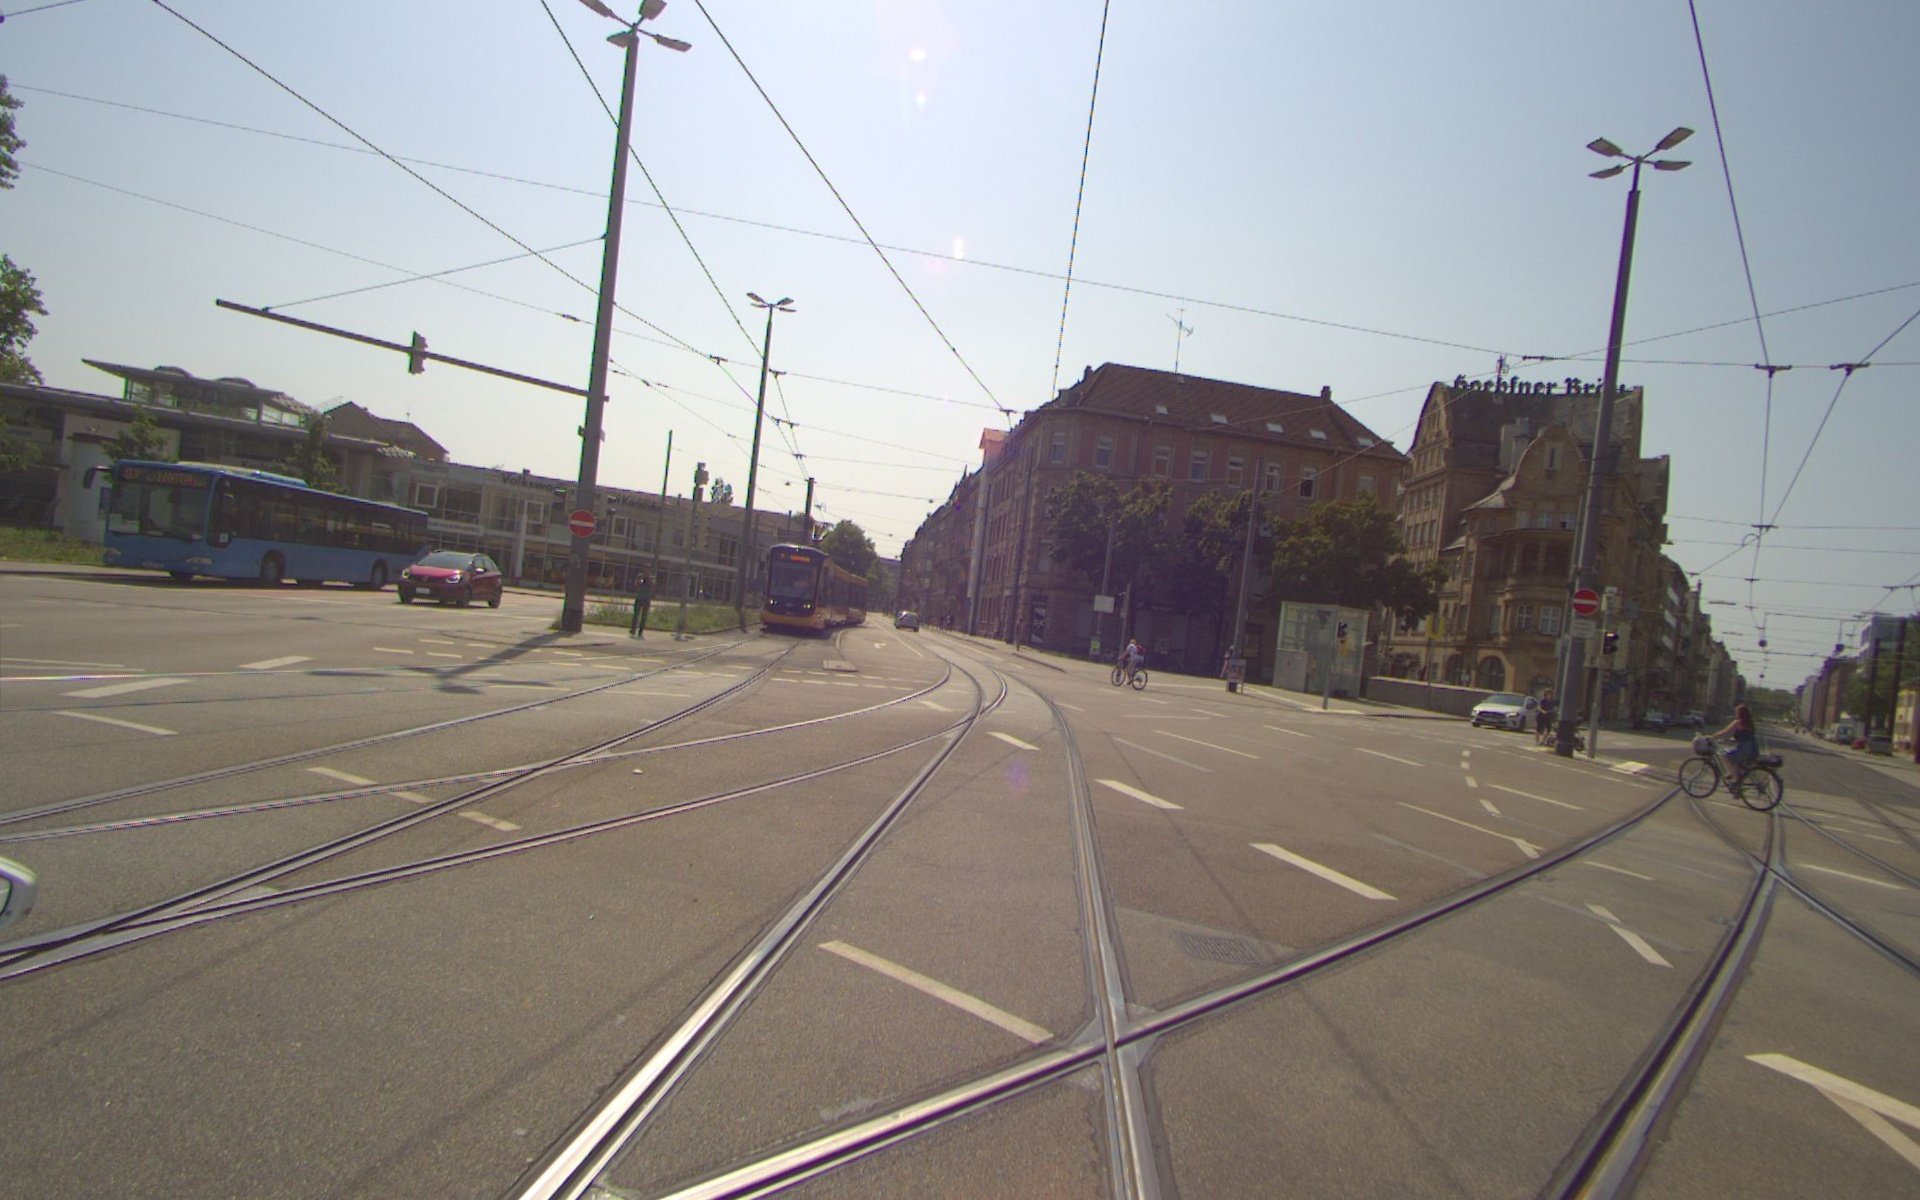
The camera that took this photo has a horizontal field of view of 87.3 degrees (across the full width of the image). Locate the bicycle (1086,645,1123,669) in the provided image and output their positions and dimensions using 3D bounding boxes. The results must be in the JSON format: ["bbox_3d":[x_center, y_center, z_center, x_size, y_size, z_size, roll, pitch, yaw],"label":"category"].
[{"bbox_3d":[7.328,2.885,51.015,1.759,0.969,0.461,7,0,-12],"label":"bicycle"}]

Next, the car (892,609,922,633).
[{"bbox_3d":[-4.277,1.672,80.718,1.710,1.591,3.607,9,-2,-10],"label":"car"}]

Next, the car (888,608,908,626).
[{"bbox_3d":[-6.025,1.619,97.670,1.489,1.529,3.618,7,-1,-9],"label":"car"}]

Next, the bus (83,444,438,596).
[{"bbox_3d":[-19.869,-1.945,30.133,2.685,3.101,12.077,7,-1,-4],"label":"bus"}]

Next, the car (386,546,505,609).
[{"bbox_3d":[-14.507,-0.583,28.585,1.601,1.489,3.768,7,-1,-6],"label":"car"}]

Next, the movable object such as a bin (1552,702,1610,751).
[{"bbox_3d":[16.573,3.366,26.864,0.805,1.097,1.039,8,-2,3],"label":"movable object such as a bin"}]

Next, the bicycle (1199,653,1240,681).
[{"bbox_3d":[11.925,3.077,46.267,0.636,1.010,2.368,7,-1,-16],"label":"bicycle"}]

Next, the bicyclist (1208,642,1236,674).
[{"bbox_3d":[12.017,2.669,46.078,0.738,1.336,0.918,7,0,-16],"label":"bicyclist"}]

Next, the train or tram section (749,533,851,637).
[{"bbox_3d":[-6.682,-0.482,44.004,2.548,3.603,12.215,7,-1,-2],"label":"train or tram section"}]

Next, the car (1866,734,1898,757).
[{"bbox_3d":[85.656,13.553,93.464,1.973,1.703,3.984,7,-3,42],"label":"car"}]

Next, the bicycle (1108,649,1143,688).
[{"bbox_3d":[5.470,2.240,33.311,0.434,1.125,1.639,7,0,-13],"label":"bicycle"}]

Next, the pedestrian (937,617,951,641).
[{"bbox_3d":[-1.469,2.643,91.271,0.781,2.037,0.808,8,-1,-14],"label":"pedestrian"}]

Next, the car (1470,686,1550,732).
[{"bbox_3d":[21.578,4.304,39.434,3.707,1.302,1.569,12,-5,-42],"label":"car"}]

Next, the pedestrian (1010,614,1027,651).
[{"bbox_3d":[3.421,1.905,59.029,0.640,2.038,0.702,7,0,-10],"label":"pedestrian"}]

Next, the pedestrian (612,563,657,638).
[{"bbox_3d":[-7.909,0.000,24.453,0.794,1.708,0.715,7,0,-24],"label":"pedestrian"}]

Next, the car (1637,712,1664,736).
[{"bbox_3d":[50.626,9.095,73.742,1.354,1.413,3.248,7,-2,37],"label":"car"}]

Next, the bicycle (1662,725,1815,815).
[{"bbox_3d":[13.230,2.864,17.190,0.434,1.125,2.121,7,0,-16],"label":"bicycle"}]

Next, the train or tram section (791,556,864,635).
[{"bbox_3d":[-7.174,-0.142,56.206,2.548,3.603,12.215,7,-1,-2],"label":"train or tram section"}]

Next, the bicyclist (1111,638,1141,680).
[{"bbox_3d":[5.470,1.945,33.177,0.648,1.269,0.642,7,0,-16],"label":"bicyclist"}]

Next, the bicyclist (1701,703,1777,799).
[{"bbox_3d":[13.299,2.572,17.188,0.648,1.499,0.642,7,0,-16],"label":"bicyclist"}]

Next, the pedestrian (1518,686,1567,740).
[{"bbox_3d":[16.183,3.138,27.943,0.712,1.368,0.810,7,0,-31],"label":"pedestrian"}]

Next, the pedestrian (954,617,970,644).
[{"bbox_3d":[0.137,2.395,79.252,0.829,2.037,0.808,8,-1,-14],"label":"pedestrian"}]

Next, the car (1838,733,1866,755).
[{"bbox_3d":[95.706,15.463,107.926,1.973,1.925,3.984,7,-3,42],"label":"car"}]
